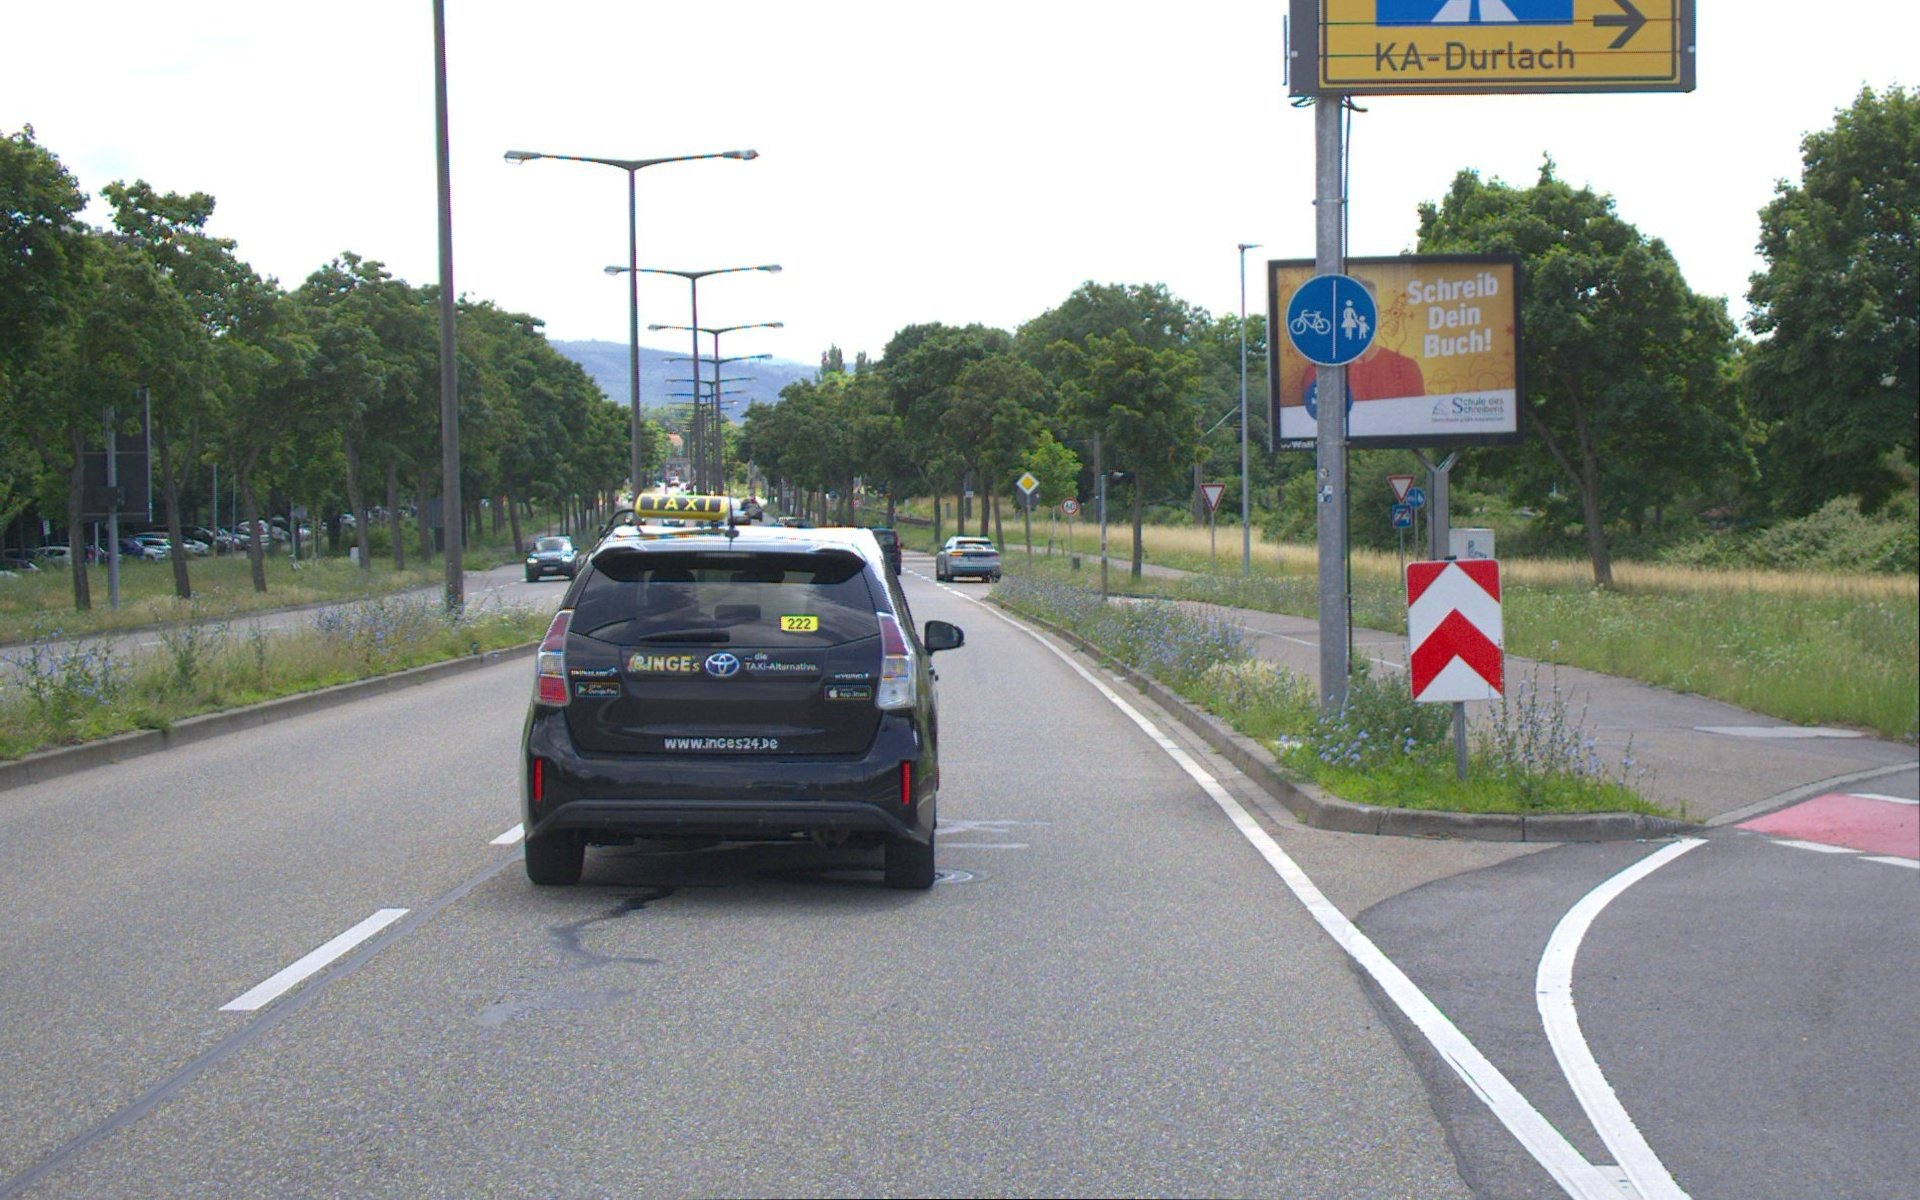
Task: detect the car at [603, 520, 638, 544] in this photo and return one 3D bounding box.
[{"bbox_3d":[-20.598,-4.111,208.521,1.700,1.422,3.676,-1,1,-12],"label":"car"}]

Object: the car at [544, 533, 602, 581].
[{"bbox_3d":[-15.363,-1.712,136.609,1.876,1.784,4.729,-3,1,-3],"label":"car"}]

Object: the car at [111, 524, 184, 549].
[{"bbox_3d":[-46.885,-3.656,198.309,3.785,1.383,1.786,1,2,0],"label":"car"}]

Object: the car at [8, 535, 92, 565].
[{"bbox_3d":[-45.247,-2.478,171.009,3.784,1.423,1.786,1,2,-4],"label":"car"}]

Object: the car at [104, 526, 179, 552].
[{"bbox_3d":[-46.150,-3.426,193.952,3.785,1.383,1.786,1,2,0],"label":"car"}]

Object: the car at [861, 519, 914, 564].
[{"bbox_3d":[-2.913,-2.337,136.941,1.993,1.656,4.001,1,2,-3],"label":"car"}]

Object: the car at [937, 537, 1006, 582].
[{"bbox_3d":[0.397,-1.475,124.910,1.993,1.503,4.001,0,2,-7],"label":"car"}]

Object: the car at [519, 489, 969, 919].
[{"bbox_3d":[-0.980,0.355,15.734,1.779,1.678,4.001,1,2,-3],"label":"car"}]
